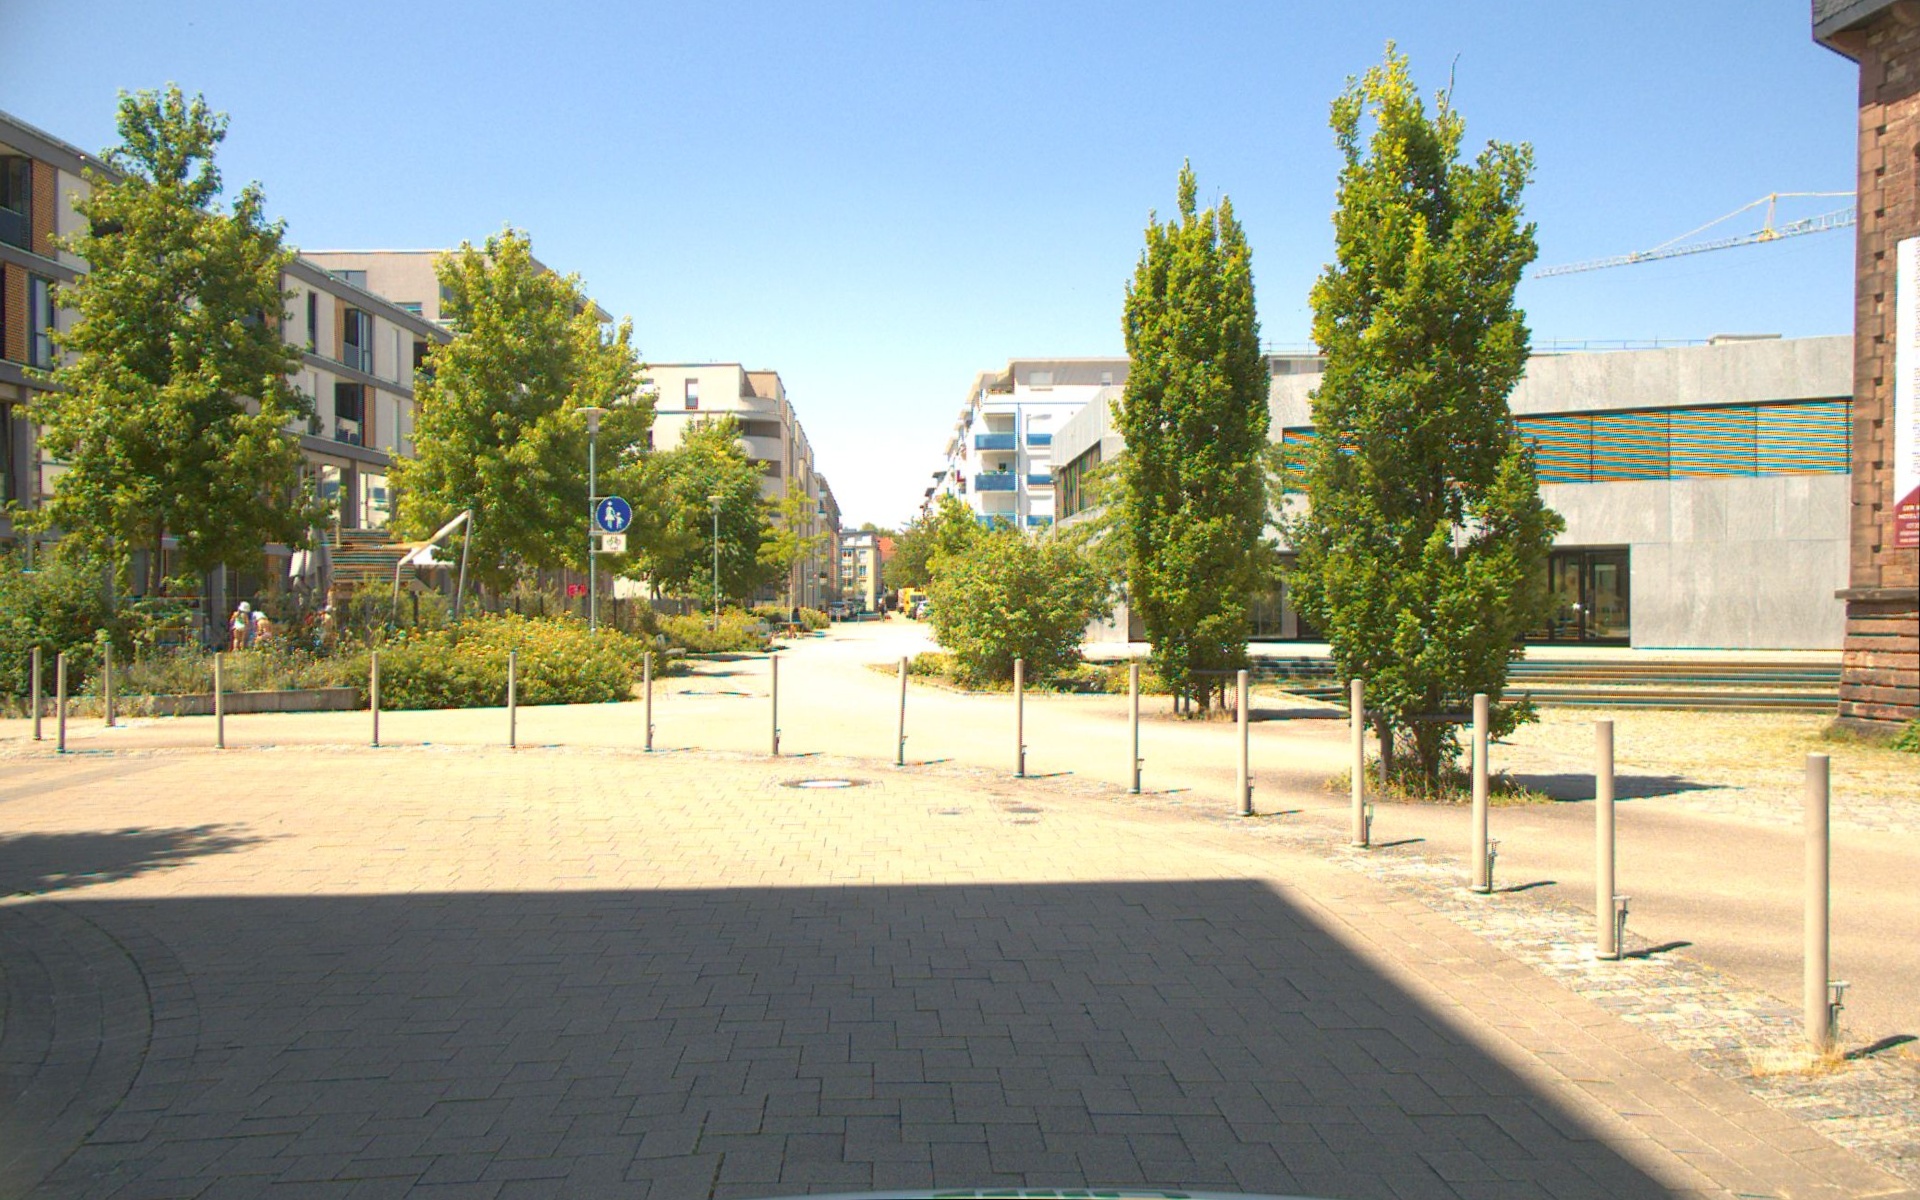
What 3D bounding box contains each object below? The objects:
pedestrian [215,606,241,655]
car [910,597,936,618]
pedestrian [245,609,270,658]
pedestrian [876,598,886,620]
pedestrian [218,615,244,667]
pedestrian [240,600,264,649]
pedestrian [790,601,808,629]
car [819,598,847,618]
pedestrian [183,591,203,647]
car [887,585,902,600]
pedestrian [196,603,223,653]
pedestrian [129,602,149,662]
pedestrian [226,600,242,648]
[{"bbox_3d":[-15.862,0.665,35.858,0.308,1.043,0.411,-1,-2,33],"label":"pedestrian"},{"bbox_3d":[-2.898,0.619,129.514,1.953,1.637,3.999,0,-1,-1],"label":"car"},{"bbox_3d":[-14.469,0.690,34.051,0.378,0.988,0.291,0,-1,12],"label":"pedestrian"},{"bbox_3d":[-5.687,0.639,119.563,0.680,1.556,0.599,0,0,-1],"label":"pedestrian"},{"bbox_3d":[-14.859,0.841,33.716,0.276,1.043,0.411,-1,-2,33],"label":"pedestrian"},{"bbox_3d":[-15.329,0.530,35.818,0.389,1.044,0.411,0,-2,-10],"label":"pedestrian"},{"bbox_3d":[-7.902,0.742,81.188,0.830,1.372,0.695,0,0,-3],"label":"pedestrian"},{"bbox_3d":[-10.544,0.667,137.772,2.103,1.681,4.087,0,-1,-2],"label":"car"},{"bbox_3d":[-21.126,0.518,45.575,0.393,1.535,0.456,1,-1,-40],"label":"pedestrian"},{"bbox_3d":[-8.906,-0.983,224.642,1.954,2.049,3.997,0,-1,-3],"label":"car"},{"bbox_3d":[-16.031,0.598,35.329,0.308,1.043,0.411,-1,-2,33],"label":"pedestrian"},{"bbox_3d":[-23.355,0.909,47.059,0.388,1.720,0.462,0,-1,-9],"label":"pedestrian"},{"bbox_3d":[-16.236,0.540,37.009,0.316,1.072,0.288,0,-1,-22],"label":"pedestrian"}]
